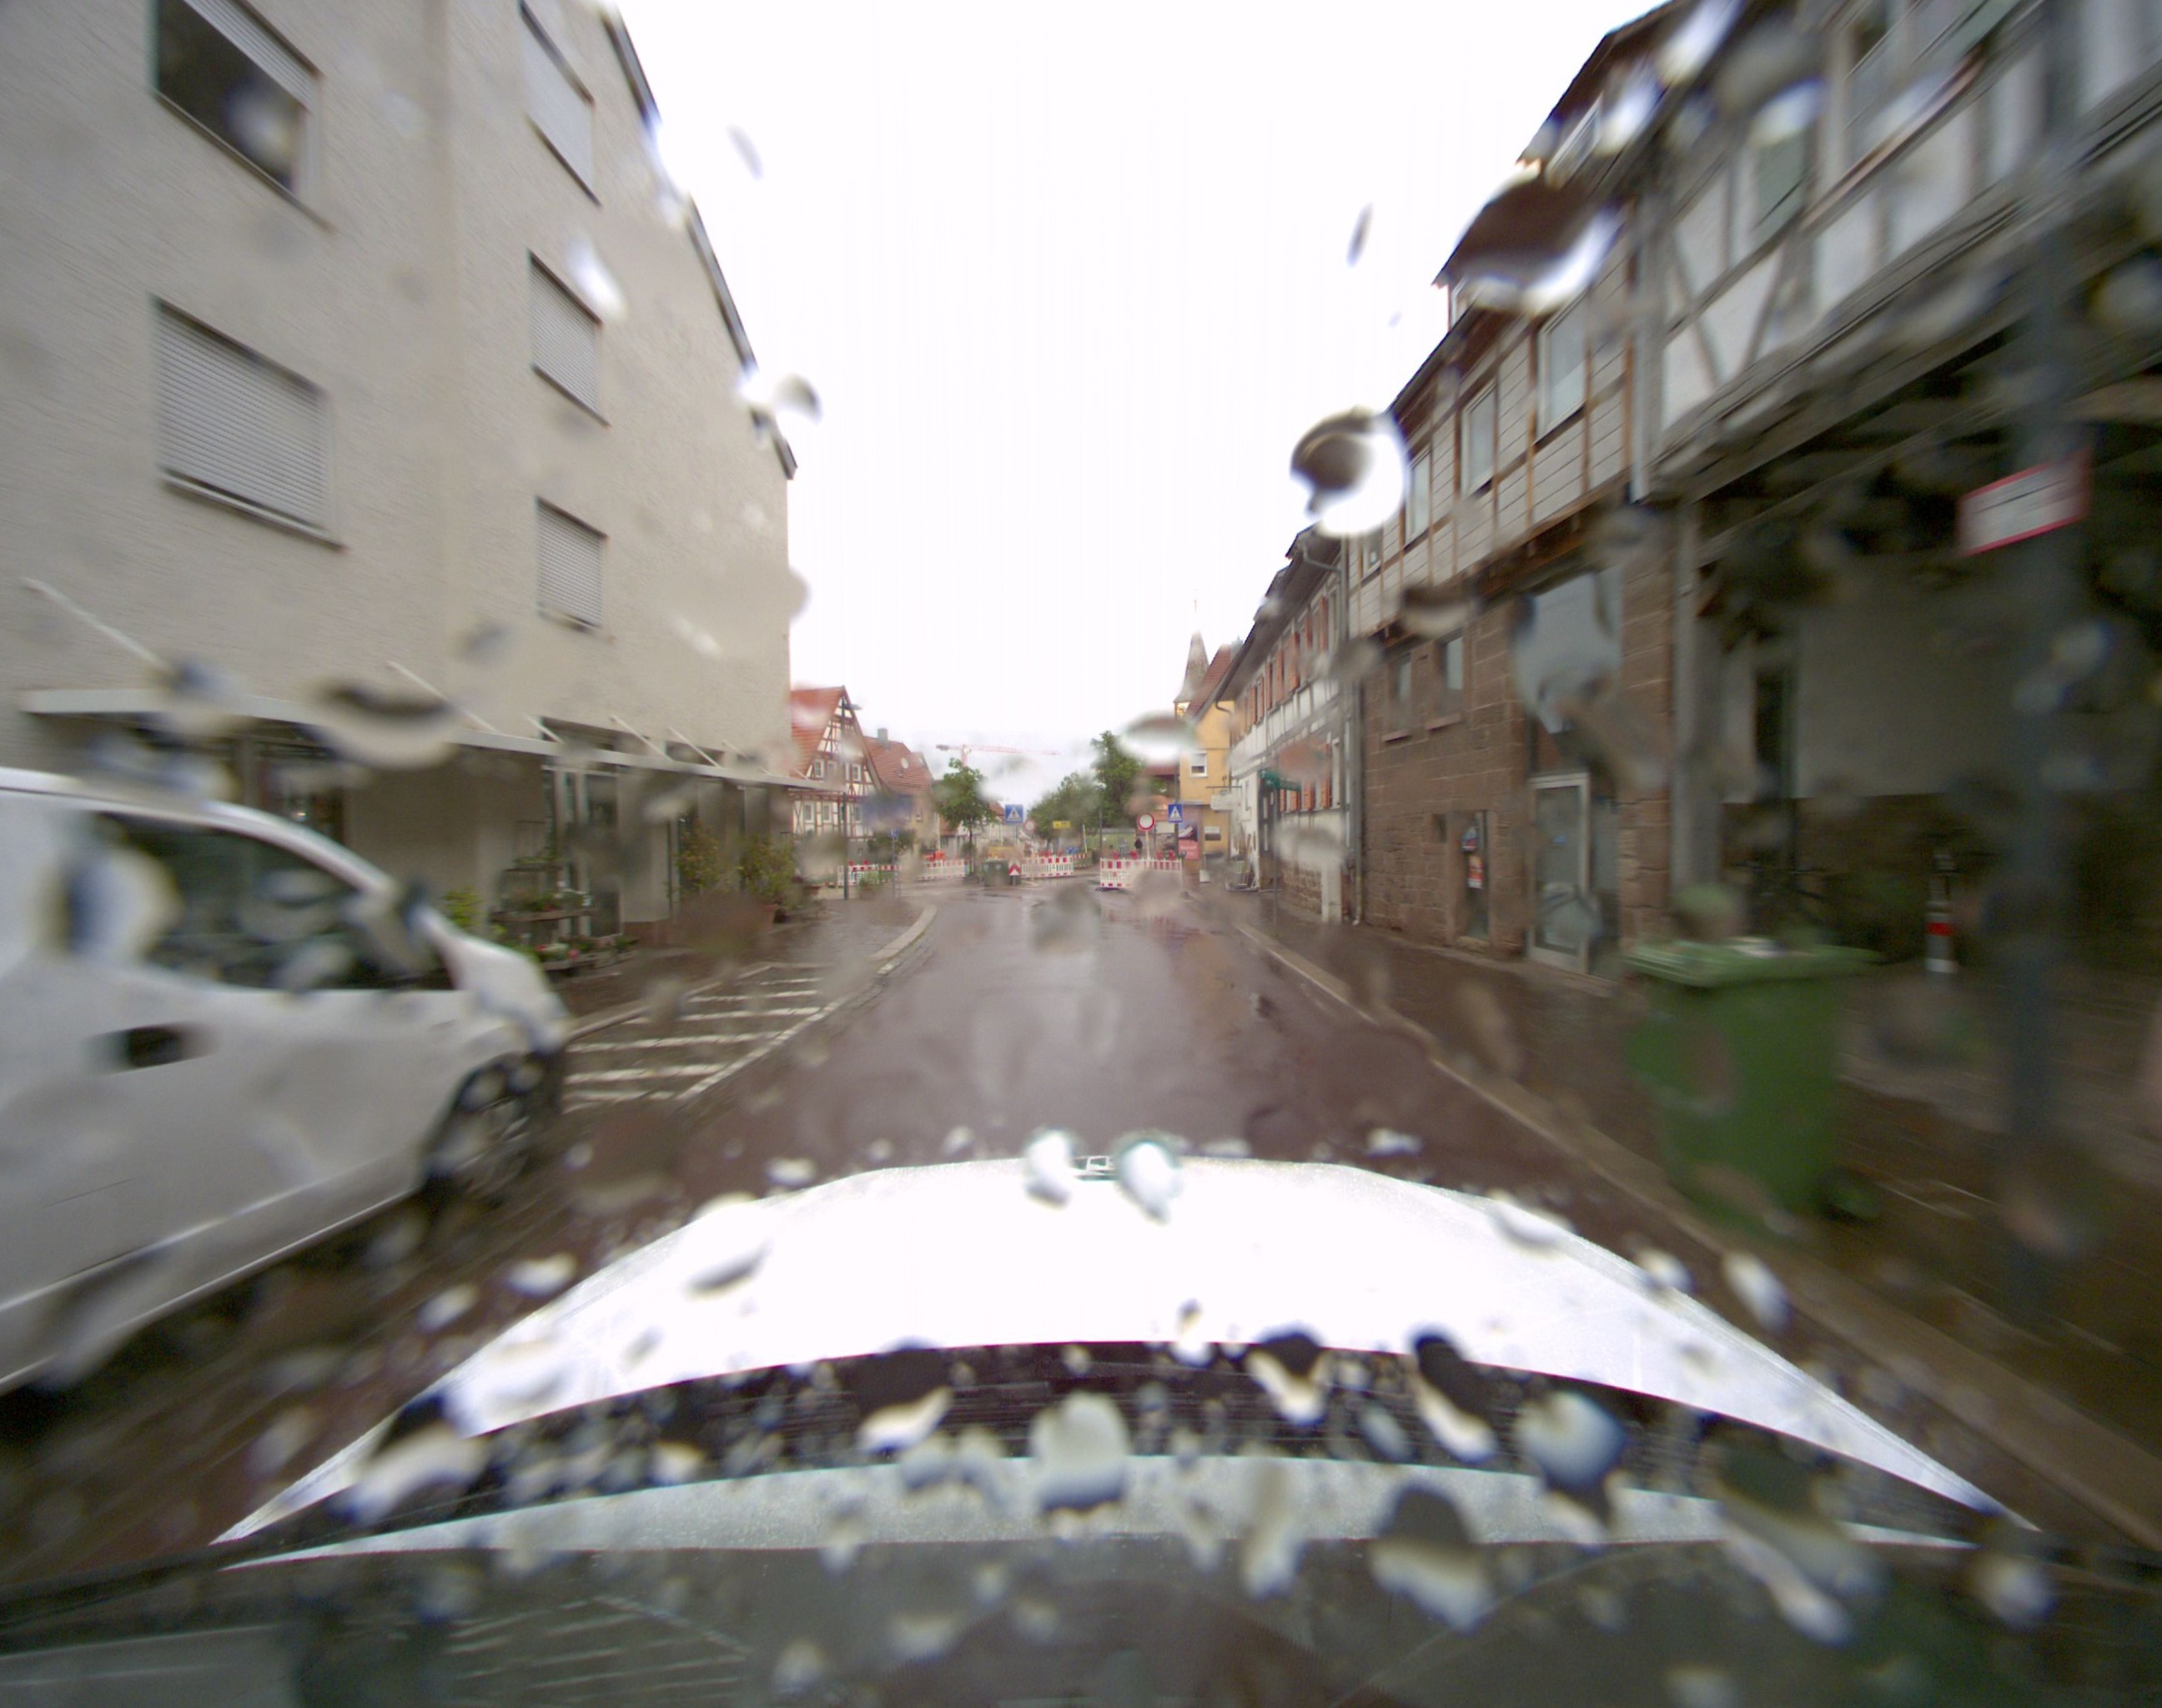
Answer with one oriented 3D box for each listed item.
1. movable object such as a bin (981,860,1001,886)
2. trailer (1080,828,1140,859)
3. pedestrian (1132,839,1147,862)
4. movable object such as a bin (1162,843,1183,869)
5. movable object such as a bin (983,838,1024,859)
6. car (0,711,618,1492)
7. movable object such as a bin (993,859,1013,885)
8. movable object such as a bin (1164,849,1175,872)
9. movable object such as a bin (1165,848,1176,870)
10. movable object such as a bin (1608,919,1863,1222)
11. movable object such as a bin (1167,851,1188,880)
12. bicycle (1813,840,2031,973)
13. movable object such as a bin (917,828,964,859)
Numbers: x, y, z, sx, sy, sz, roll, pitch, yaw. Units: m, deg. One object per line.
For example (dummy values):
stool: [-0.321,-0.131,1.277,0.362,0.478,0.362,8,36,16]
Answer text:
movable object such as a bin: [-3.636,0.760,33.055,0.535,1.037,0.576,-3,-2,35]
trailer: [2.793,-1.028,79.601,5.768,2.947,1.998,0,0,-4]
pedestrian: [4.471,-0.281,62.408,0.988,1.759,0.850,0,0,-4]
movable object such as a bin: [5.508,0.112,48.924,1.059,1.512,1.245,-4,0,9]
movable object such as a bin: [-7.372,-0.517,78.129,3.388,2.013,3.481,0,0,3]
car: [-3.387,0.582,2.219,1.718,1.825,4.427,0,0,0]
movable object such as a bin: [-3.120,0.725,32.707,0.538,1.033,0.538,-3,-2,35]
movable object such as a bin: [4.581,0.313,42.162,0.515,1.132,0.581,-4,1,5]
movable object such as a bin: [4.848,0.250,44.060,0.513,1.128,0.581,-4,1,5]
movable object such as a bin: [2.737,0.865,3.467,0.607,1.127,0.600,0,0,2]
movable object such as a bin: [3.685,0.435,31.038,0.677,1.065,0.539,-2,2,-5]
bicycle: [7.003,0.427,6.803,1.396,0.882,0.293,-9,1,1]
movable object such as a bin: [-9.867,-0.728,57.615,1.893,2.013,4.012,-3,0,11]
